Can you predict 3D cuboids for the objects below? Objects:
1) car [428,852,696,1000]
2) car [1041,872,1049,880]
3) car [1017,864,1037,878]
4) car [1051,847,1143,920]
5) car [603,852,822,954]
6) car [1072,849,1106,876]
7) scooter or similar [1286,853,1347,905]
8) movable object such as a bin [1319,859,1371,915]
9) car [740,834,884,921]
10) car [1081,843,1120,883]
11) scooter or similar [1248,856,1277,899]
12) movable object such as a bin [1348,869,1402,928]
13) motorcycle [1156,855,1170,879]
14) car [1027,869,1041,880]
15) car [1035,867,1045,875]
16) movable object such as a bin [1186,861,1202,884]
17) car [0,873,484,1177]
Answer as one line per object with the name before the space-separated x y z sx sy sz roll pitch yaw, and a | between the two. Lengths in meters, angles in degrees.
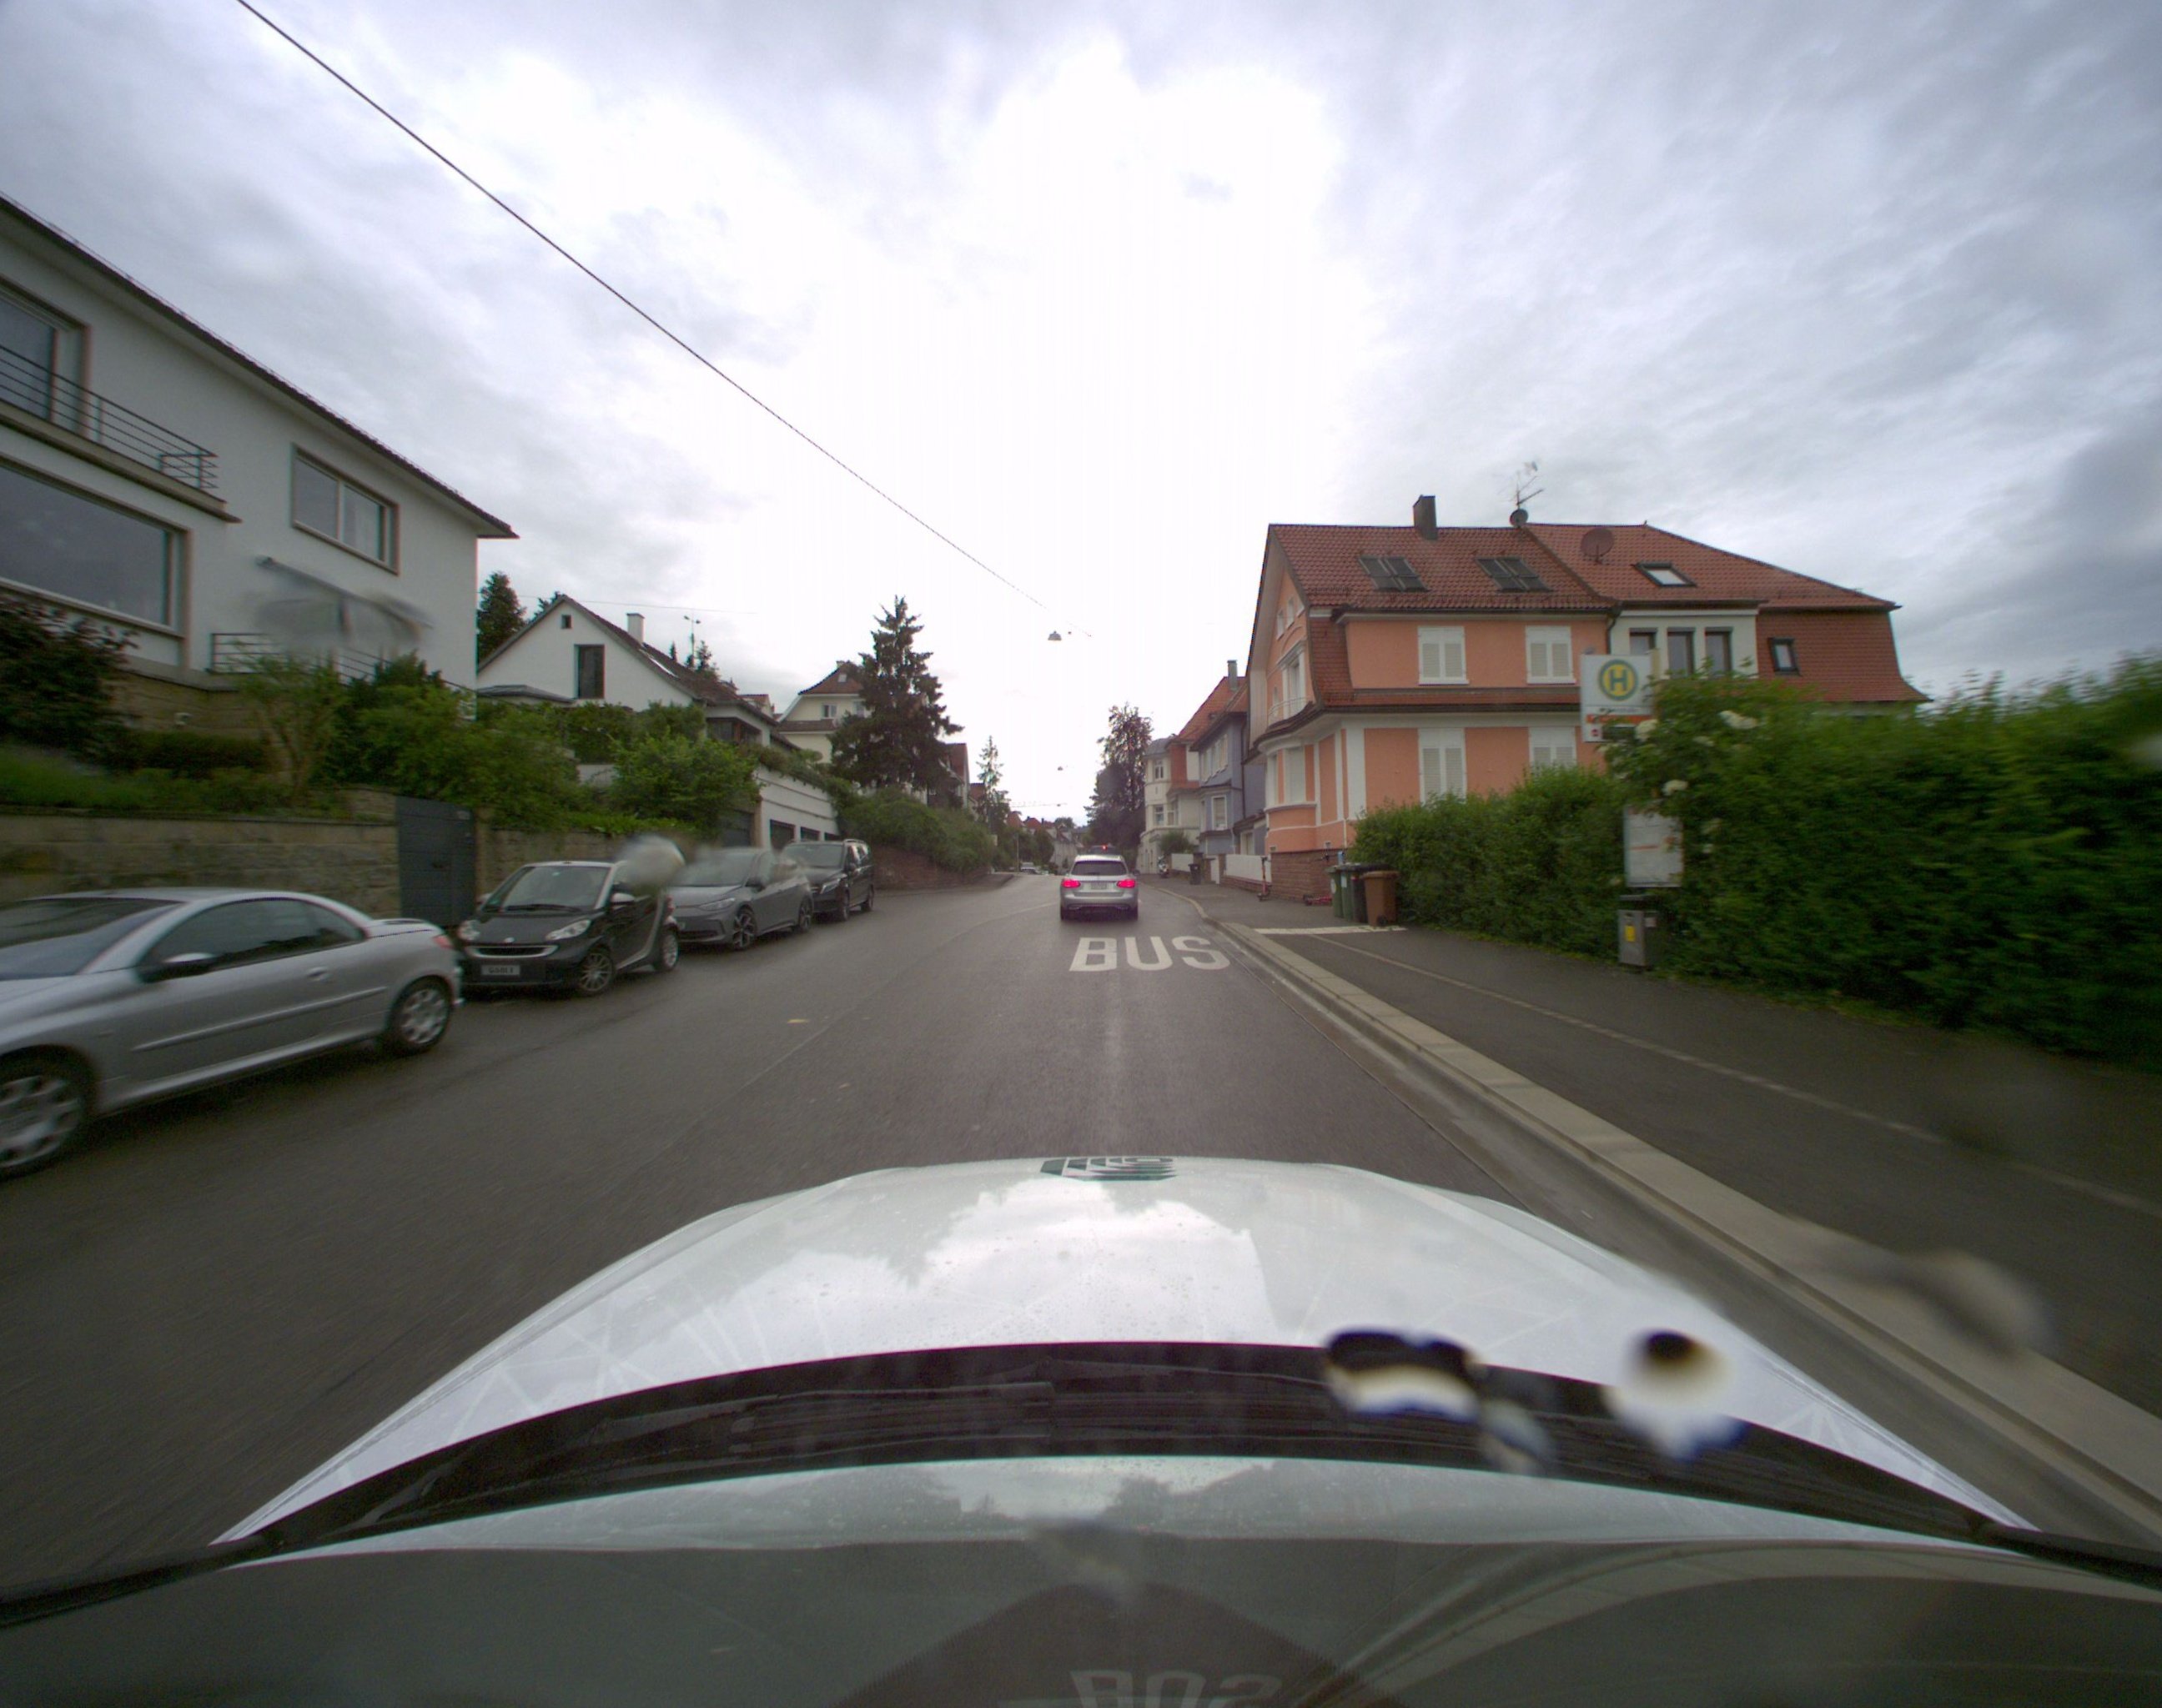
car | -6.145 0.743 10.070 1.494 1.524 3.153 0 0 -5
car | -6.641 4.035 150.496 1.425 1.314 3.404 -1 0 -2
car | -6.187 1.929 93.908 2.111 1.471 4.014 0 0 -2
car | 0.364 0.636 19.712 1.976 1.553 4.298 0 0 0
car | -6.265 0.742 14.506 1.892 1.515 4.342 1 0 0
car | 0.516 0.510 50.744 1.987 1.539 4.333 -1 0 1
scooter or similar | 5.840 0.626 20.175 1.245 1.224 0.699 -3 -2 31
movable object such as a bin | 5.155 0.636 15.948 0.709 1.030 0.757 -2 0 -2
car | -6.476 0.518 20.374 2.125 1.860 5.584 0 0 -5
car | 1.013 0.409 41.238 1.817 1.882 4.097 -1 0 2
scooter or similar | 5.314 0.682 23.903 0.689 1.224 1.302 0 0 7
movable object such as a bin | 5.047 0.752 13.995 0.573 0.969 0.663 1 0 -33
motorcycle | 4.547 0.690 45.316 0.579 1.261 2.332 -2 0 2
car | -6.296 2.770 108.435 1.753 1.314 3.680 1 0 -2
car | -7.027 2.941 140.116 1.632 1.314 3.473 -1 0 -2
movable object such as a bin | 4.922 0.795 35.571 0.547 0.936 0.633 -3 0 -1
car | -5.952 0.851 5.110 1.605 1.337 3.839 1 0 -1
